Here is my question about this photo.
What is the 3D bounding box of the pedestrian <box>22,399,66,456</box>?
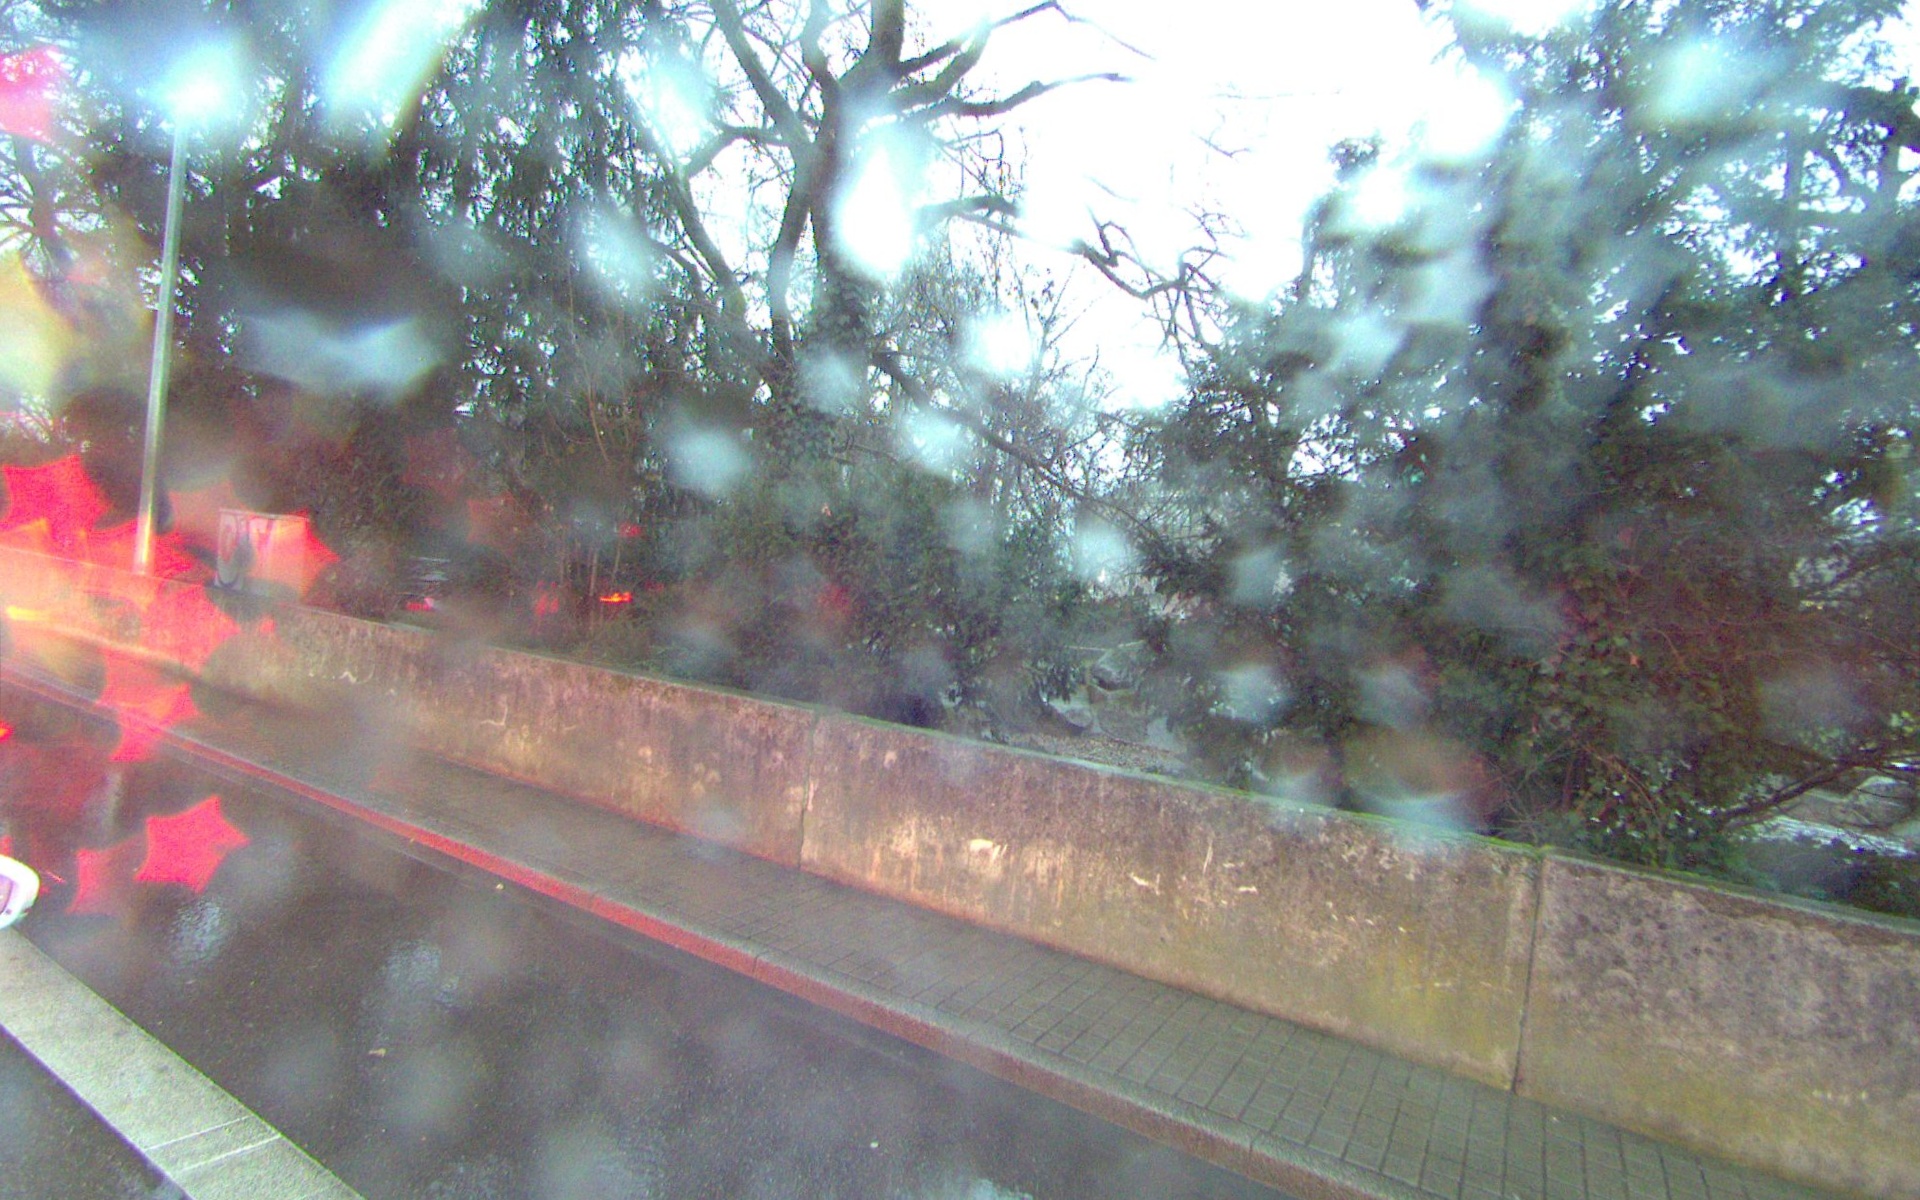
[{"bbox_3d":[-36.255,-6.822,39.828,0.991,2.039,0.959,7,1,34],"label":"pedestrian"}]
